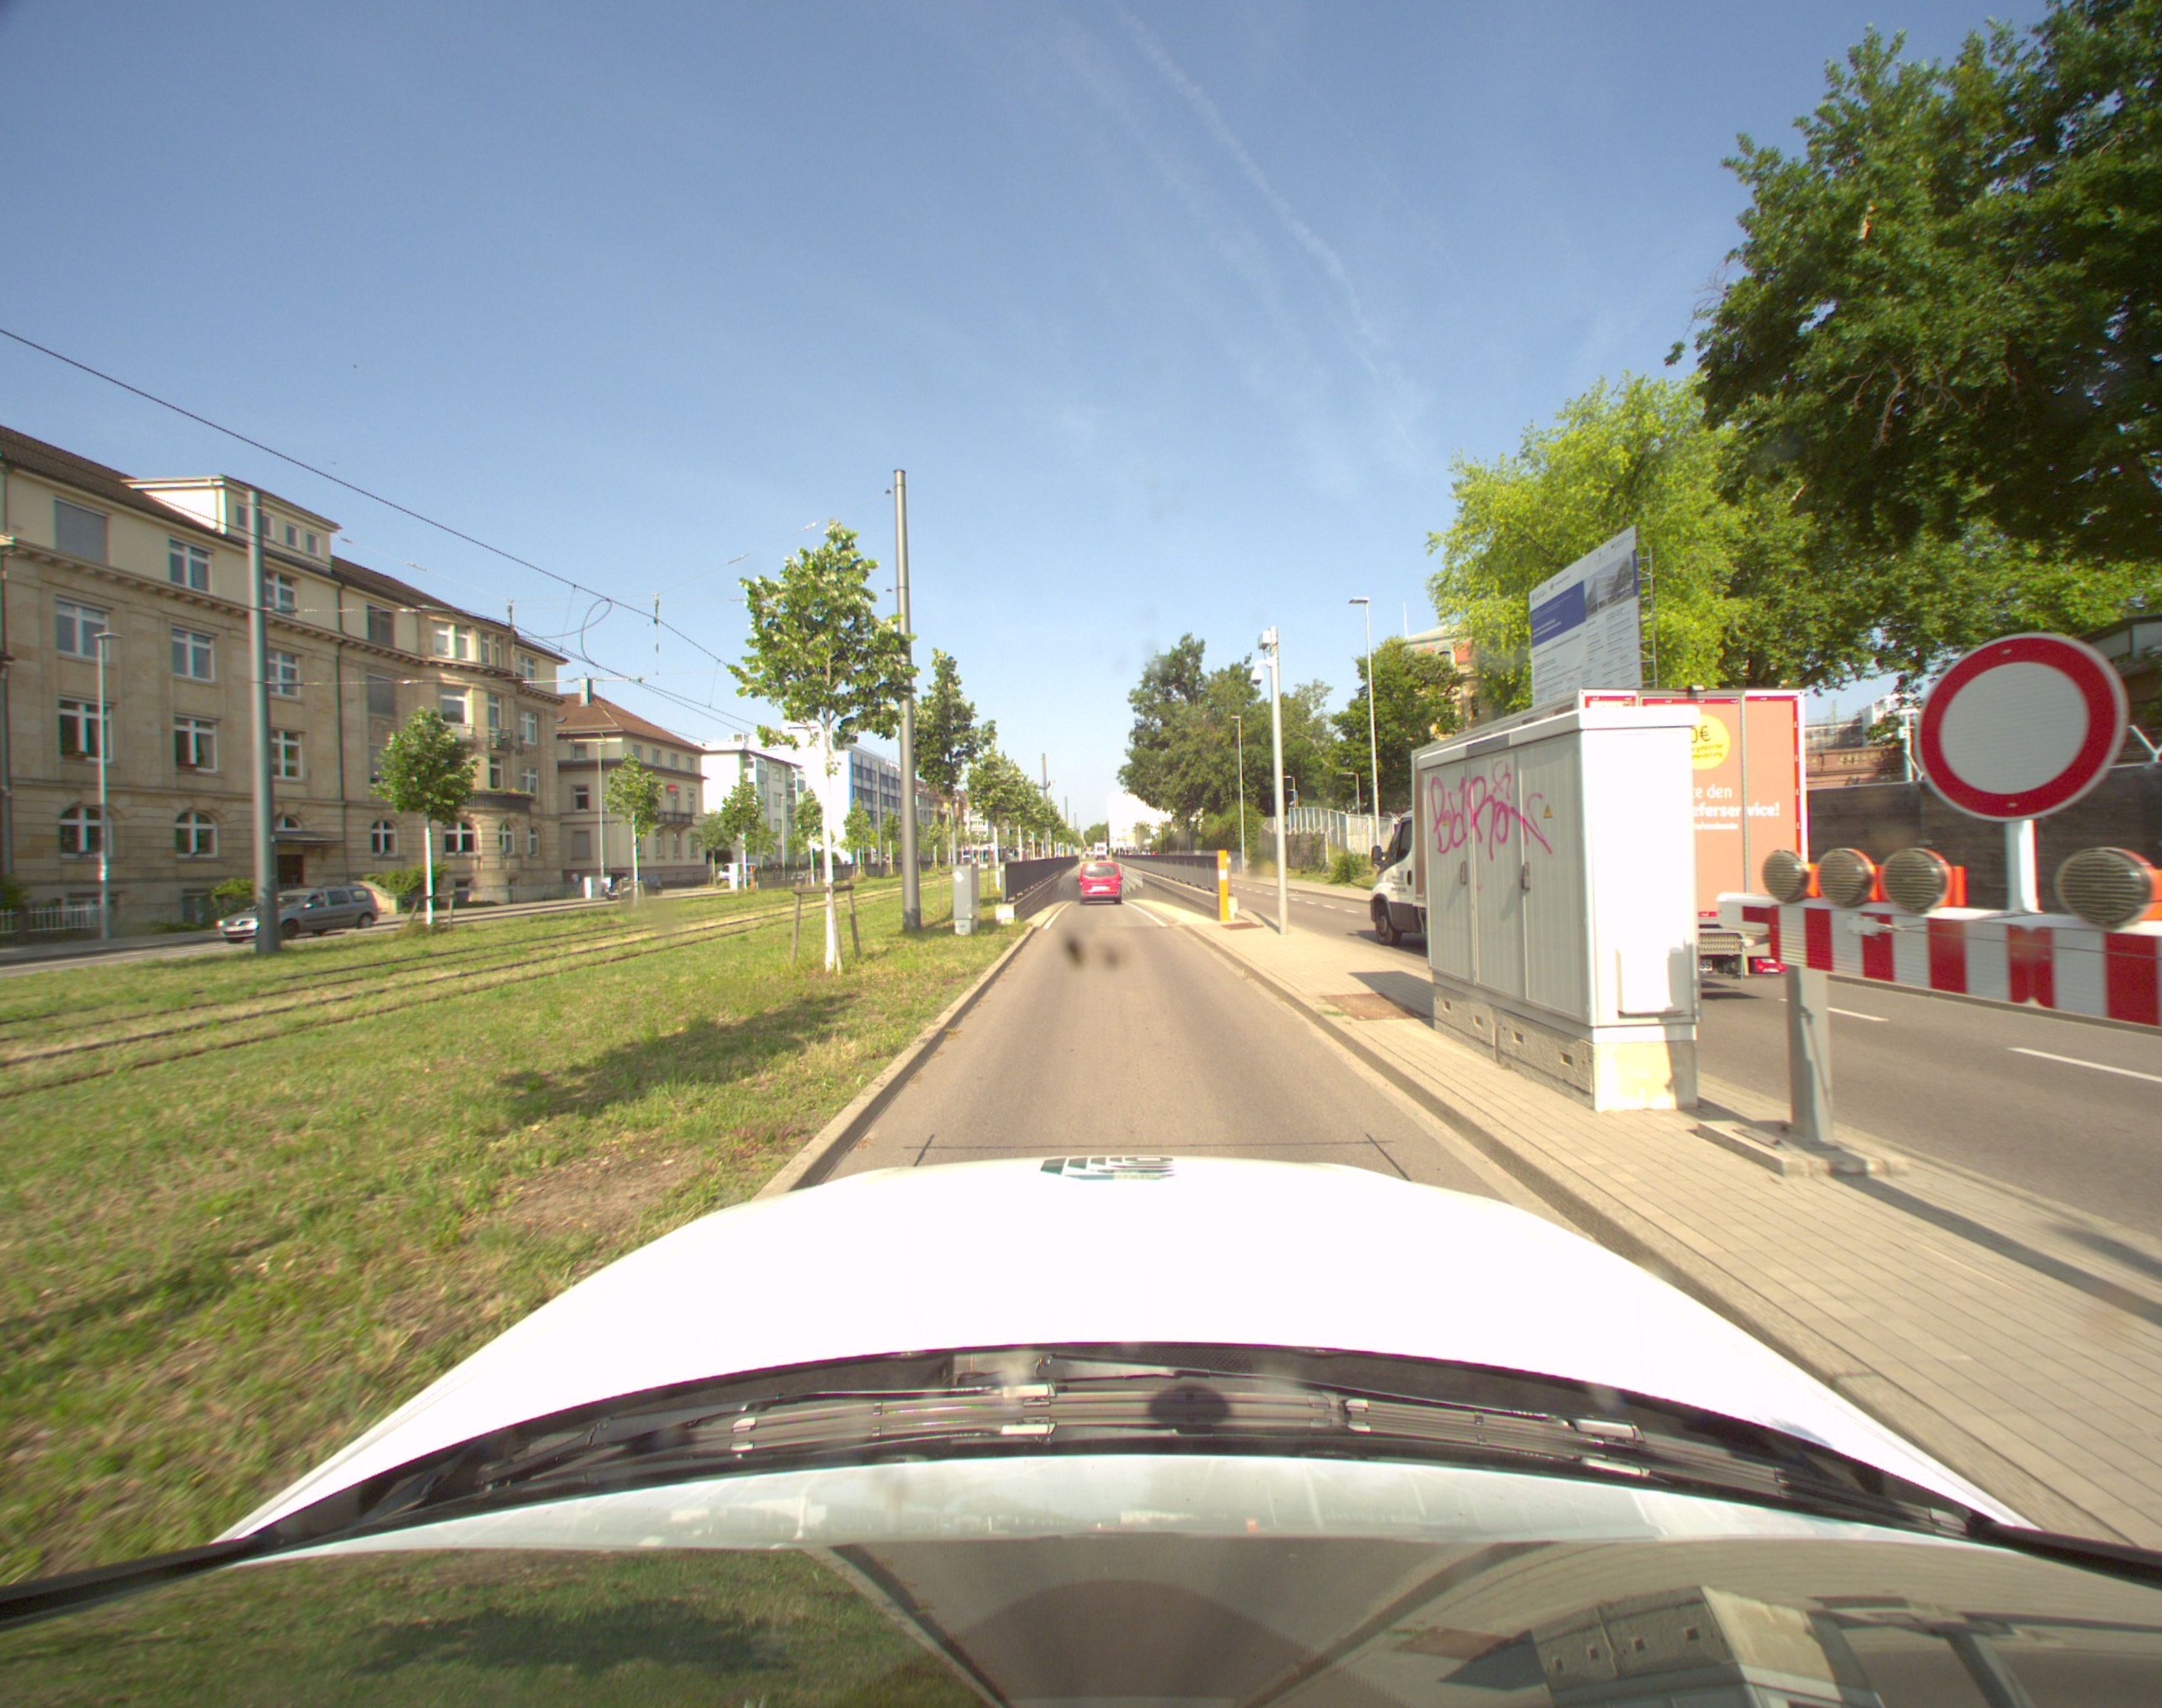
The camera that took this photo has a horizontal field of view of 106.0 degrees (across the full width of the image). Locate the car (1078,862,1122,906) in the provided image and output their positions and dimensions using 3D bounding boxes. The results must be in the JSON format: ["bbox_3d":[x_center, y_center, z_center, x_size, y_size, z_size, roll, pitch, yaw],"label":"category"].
[{"bbox_3d":[0.916,1.296,36.913,1.893,1.859,4.003,0,0,3],"label":"car"}]

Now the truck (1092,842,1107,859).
[{"bbox_3d":[4.298,-0.729,191.479,3.379,3.726,10.452,-2,0,1],"label":"truck"}]

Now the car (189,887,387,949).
[{"bbox_3d":[-25.800,2.027,26.765,1.987,1.577,4.528,-3,0,0],"label":"car"}]

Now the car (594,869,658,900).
[{"bbox_3d":[-26.420,1.744,47.406,1.514,1.464,3.824,-3,1,0],"label":"car"}]

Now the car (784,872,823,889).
[{"bbox_3d":[-25.737,2.442,75.805,1.986,1.467,4.439,-2,-2,1],"label":"car"}]

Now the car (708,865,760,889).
[{"bbox_3d":[-30.288,2.043,71.251,2.242,2.014,5.261,0,-2,0],"label":"car"}]

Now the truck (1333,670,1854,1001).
[{"bbox_3d":[5.946,-0.144,11.448,2.493,3.061,7.820,0,0,1],"label":"truck"}]

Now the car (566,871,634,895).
[{"bbox_3d":[-35.562,2.161,60.299,3.978,1.552,1.652,-2,0,-3],"label":"car"}]
